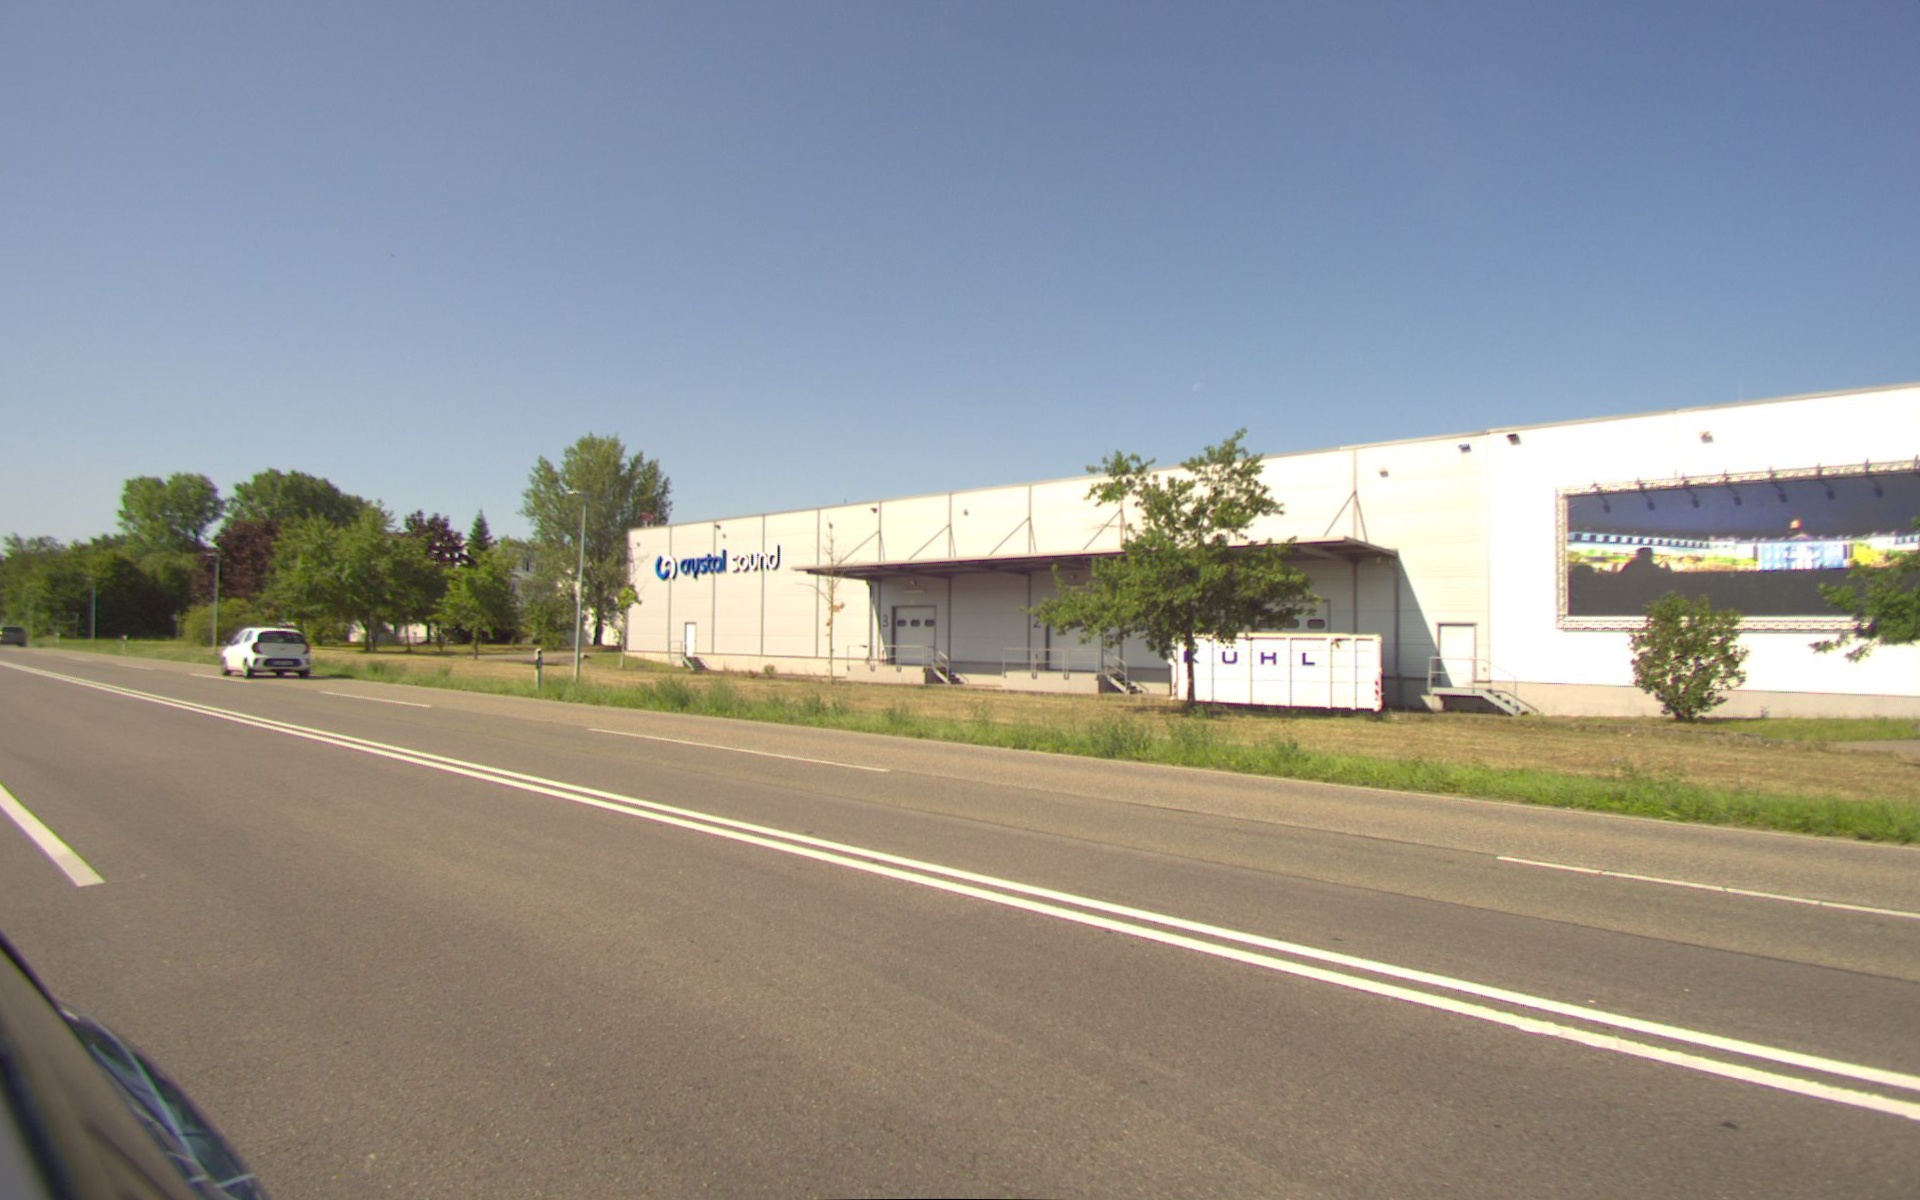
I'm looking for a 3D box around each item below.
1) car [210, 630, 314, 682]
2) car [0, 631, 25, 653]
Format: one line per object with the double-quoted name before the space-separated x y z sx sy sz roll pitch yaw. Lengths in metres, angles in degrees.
"car" -21.005 1.673 30.418 3.734 1.448 1.641 -1 -5 41
"car" -70.599 3.079 74.785 4.213 1.573 1.711 -2 -5 41
